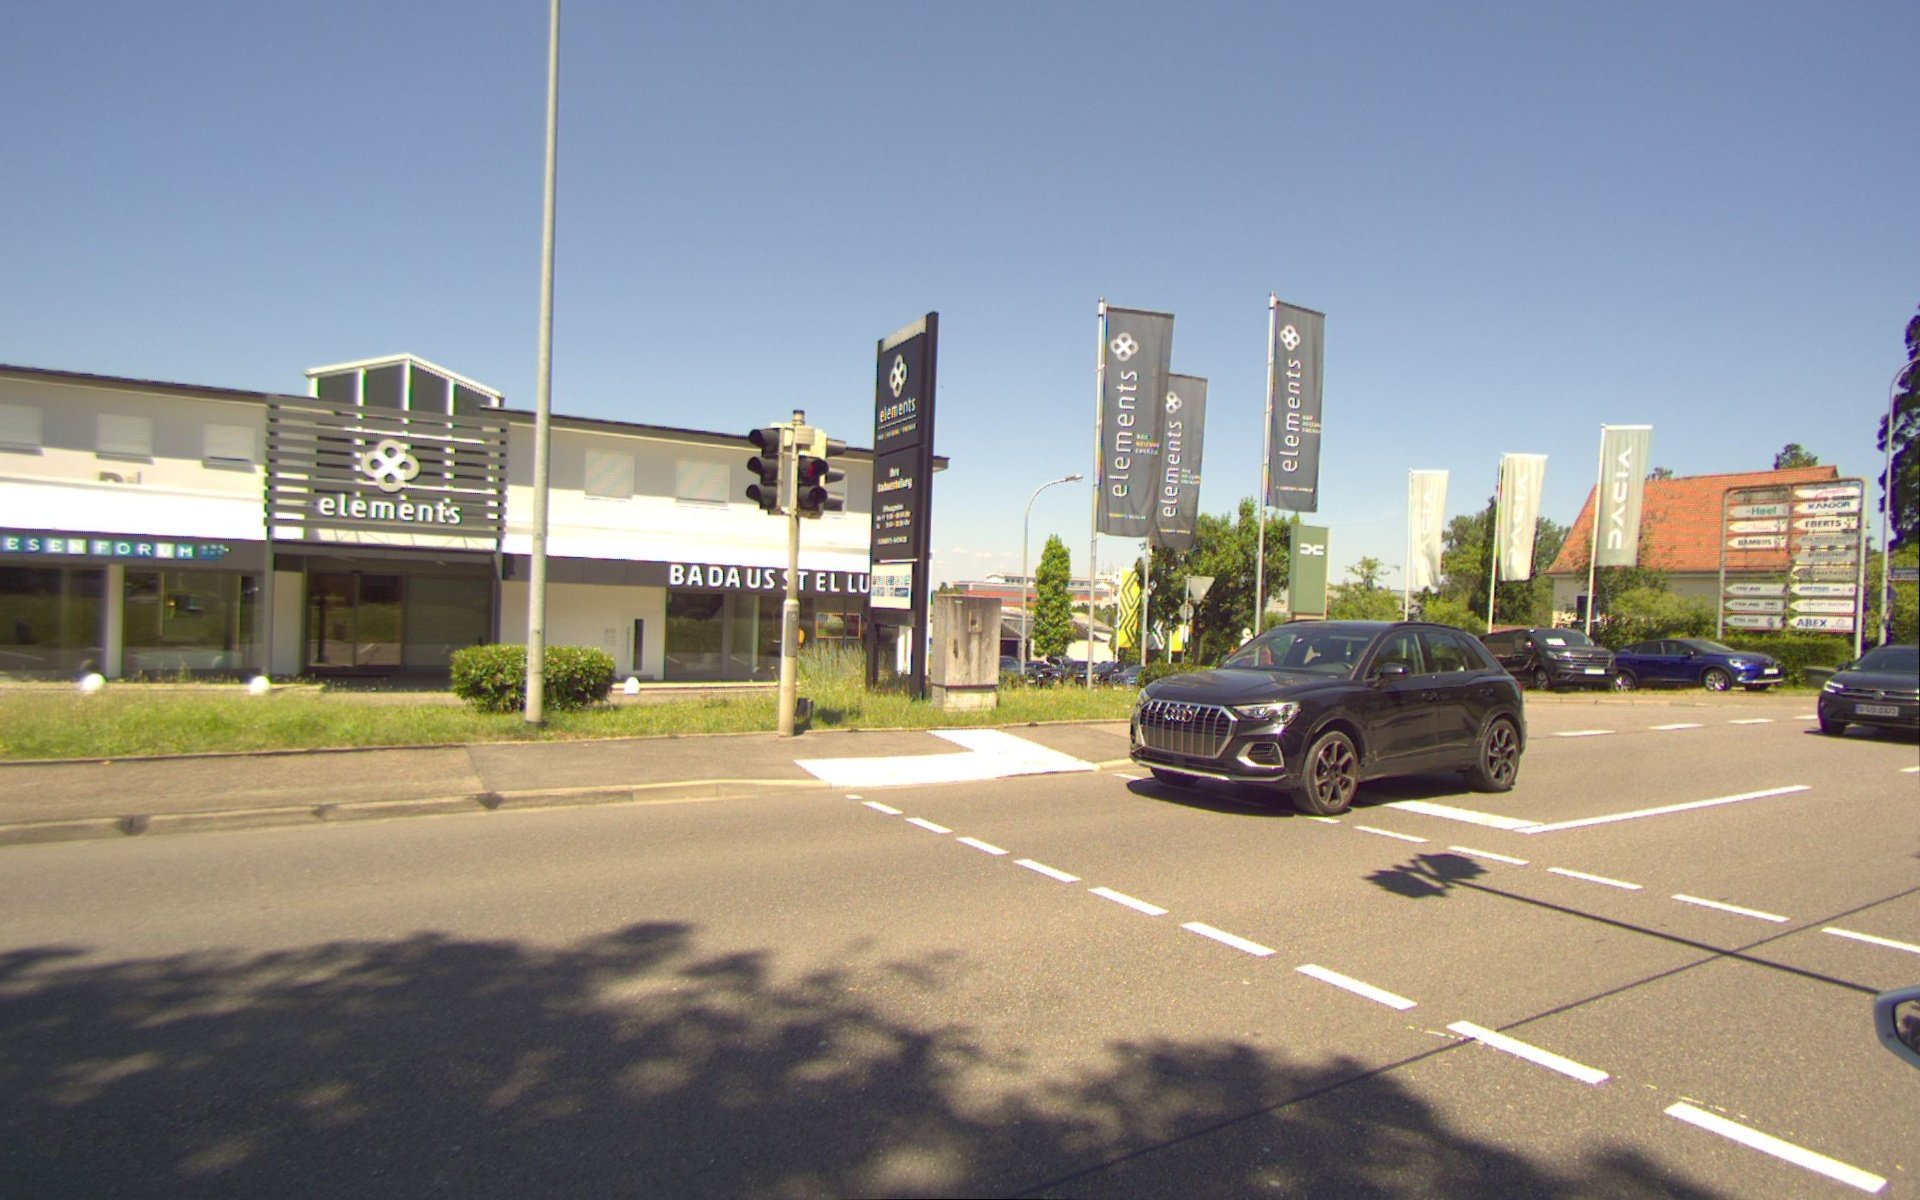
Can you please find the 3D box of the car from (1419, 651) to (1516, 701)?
[{"bbox_3d":[19.762,2.918,39.088,4.053,1.744,1.795,2,0,-38],"label":"car"}]

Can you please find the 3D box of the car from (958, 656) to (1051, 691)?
[{"bbox_3d":[1.866,3.149,43.665,1.893,1.405,4.938,2,-4,-27],"label":"car"}]

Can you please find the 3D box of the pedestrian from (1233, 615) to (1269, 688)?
[{"bbox_3d":[7.220,1.273,24.964,0.689,1.785,0.545,2,-1,-3],"label":"pedestrian"}]

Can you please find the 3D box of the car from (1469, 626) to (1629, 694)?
[{"bbox_3d":[17.323,1.712,29.844,2.022,1.750,4.458,-2,-1,-1],"label":"car"}]

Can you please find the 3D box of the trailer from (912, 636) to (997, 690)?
[{"bbox_3d":[-0.328,3.015,48.301,1.915,2.436,5.333,2,-4,-27],"label":"trailer"}]

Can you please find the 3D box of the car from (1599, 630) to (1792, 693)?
[{"bbox_3d":[20.740,1.702,28.536,1.750,1.524,4.130,2,-1,-20],"label":"car"}]

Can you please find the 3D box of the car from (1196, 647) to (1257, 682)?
[{"bbox_3d":[14.582,3.481,54.826,1.785,1.744,4.074,2,0,37],"label":"car"}]

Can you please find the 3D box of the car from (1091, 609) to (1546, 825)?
[{"bbox_3d":[3.464,0.940,9.426,4.260,1.576,1.913,2,-1,-35],"label":"car"}]

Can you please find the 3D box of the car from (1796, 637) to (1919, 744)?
[{"bbox_3d":[15.596,1.431,16.455,4.010,1.526,1.858,2,-1,-33],"label":"car"}]

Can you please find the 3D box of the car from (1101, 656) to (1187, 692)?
[{"bbox_3d":[8.199,3.261,44.664,3.835,1.434,1.634,3,-1,-39],"label":"car"}]

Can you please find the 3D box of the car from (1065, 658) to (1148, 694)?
[{"bbox_3d":[6.903,3.529,47.095,3.972,1.505,1.736,3,-1,-43],"label":"car"}]
